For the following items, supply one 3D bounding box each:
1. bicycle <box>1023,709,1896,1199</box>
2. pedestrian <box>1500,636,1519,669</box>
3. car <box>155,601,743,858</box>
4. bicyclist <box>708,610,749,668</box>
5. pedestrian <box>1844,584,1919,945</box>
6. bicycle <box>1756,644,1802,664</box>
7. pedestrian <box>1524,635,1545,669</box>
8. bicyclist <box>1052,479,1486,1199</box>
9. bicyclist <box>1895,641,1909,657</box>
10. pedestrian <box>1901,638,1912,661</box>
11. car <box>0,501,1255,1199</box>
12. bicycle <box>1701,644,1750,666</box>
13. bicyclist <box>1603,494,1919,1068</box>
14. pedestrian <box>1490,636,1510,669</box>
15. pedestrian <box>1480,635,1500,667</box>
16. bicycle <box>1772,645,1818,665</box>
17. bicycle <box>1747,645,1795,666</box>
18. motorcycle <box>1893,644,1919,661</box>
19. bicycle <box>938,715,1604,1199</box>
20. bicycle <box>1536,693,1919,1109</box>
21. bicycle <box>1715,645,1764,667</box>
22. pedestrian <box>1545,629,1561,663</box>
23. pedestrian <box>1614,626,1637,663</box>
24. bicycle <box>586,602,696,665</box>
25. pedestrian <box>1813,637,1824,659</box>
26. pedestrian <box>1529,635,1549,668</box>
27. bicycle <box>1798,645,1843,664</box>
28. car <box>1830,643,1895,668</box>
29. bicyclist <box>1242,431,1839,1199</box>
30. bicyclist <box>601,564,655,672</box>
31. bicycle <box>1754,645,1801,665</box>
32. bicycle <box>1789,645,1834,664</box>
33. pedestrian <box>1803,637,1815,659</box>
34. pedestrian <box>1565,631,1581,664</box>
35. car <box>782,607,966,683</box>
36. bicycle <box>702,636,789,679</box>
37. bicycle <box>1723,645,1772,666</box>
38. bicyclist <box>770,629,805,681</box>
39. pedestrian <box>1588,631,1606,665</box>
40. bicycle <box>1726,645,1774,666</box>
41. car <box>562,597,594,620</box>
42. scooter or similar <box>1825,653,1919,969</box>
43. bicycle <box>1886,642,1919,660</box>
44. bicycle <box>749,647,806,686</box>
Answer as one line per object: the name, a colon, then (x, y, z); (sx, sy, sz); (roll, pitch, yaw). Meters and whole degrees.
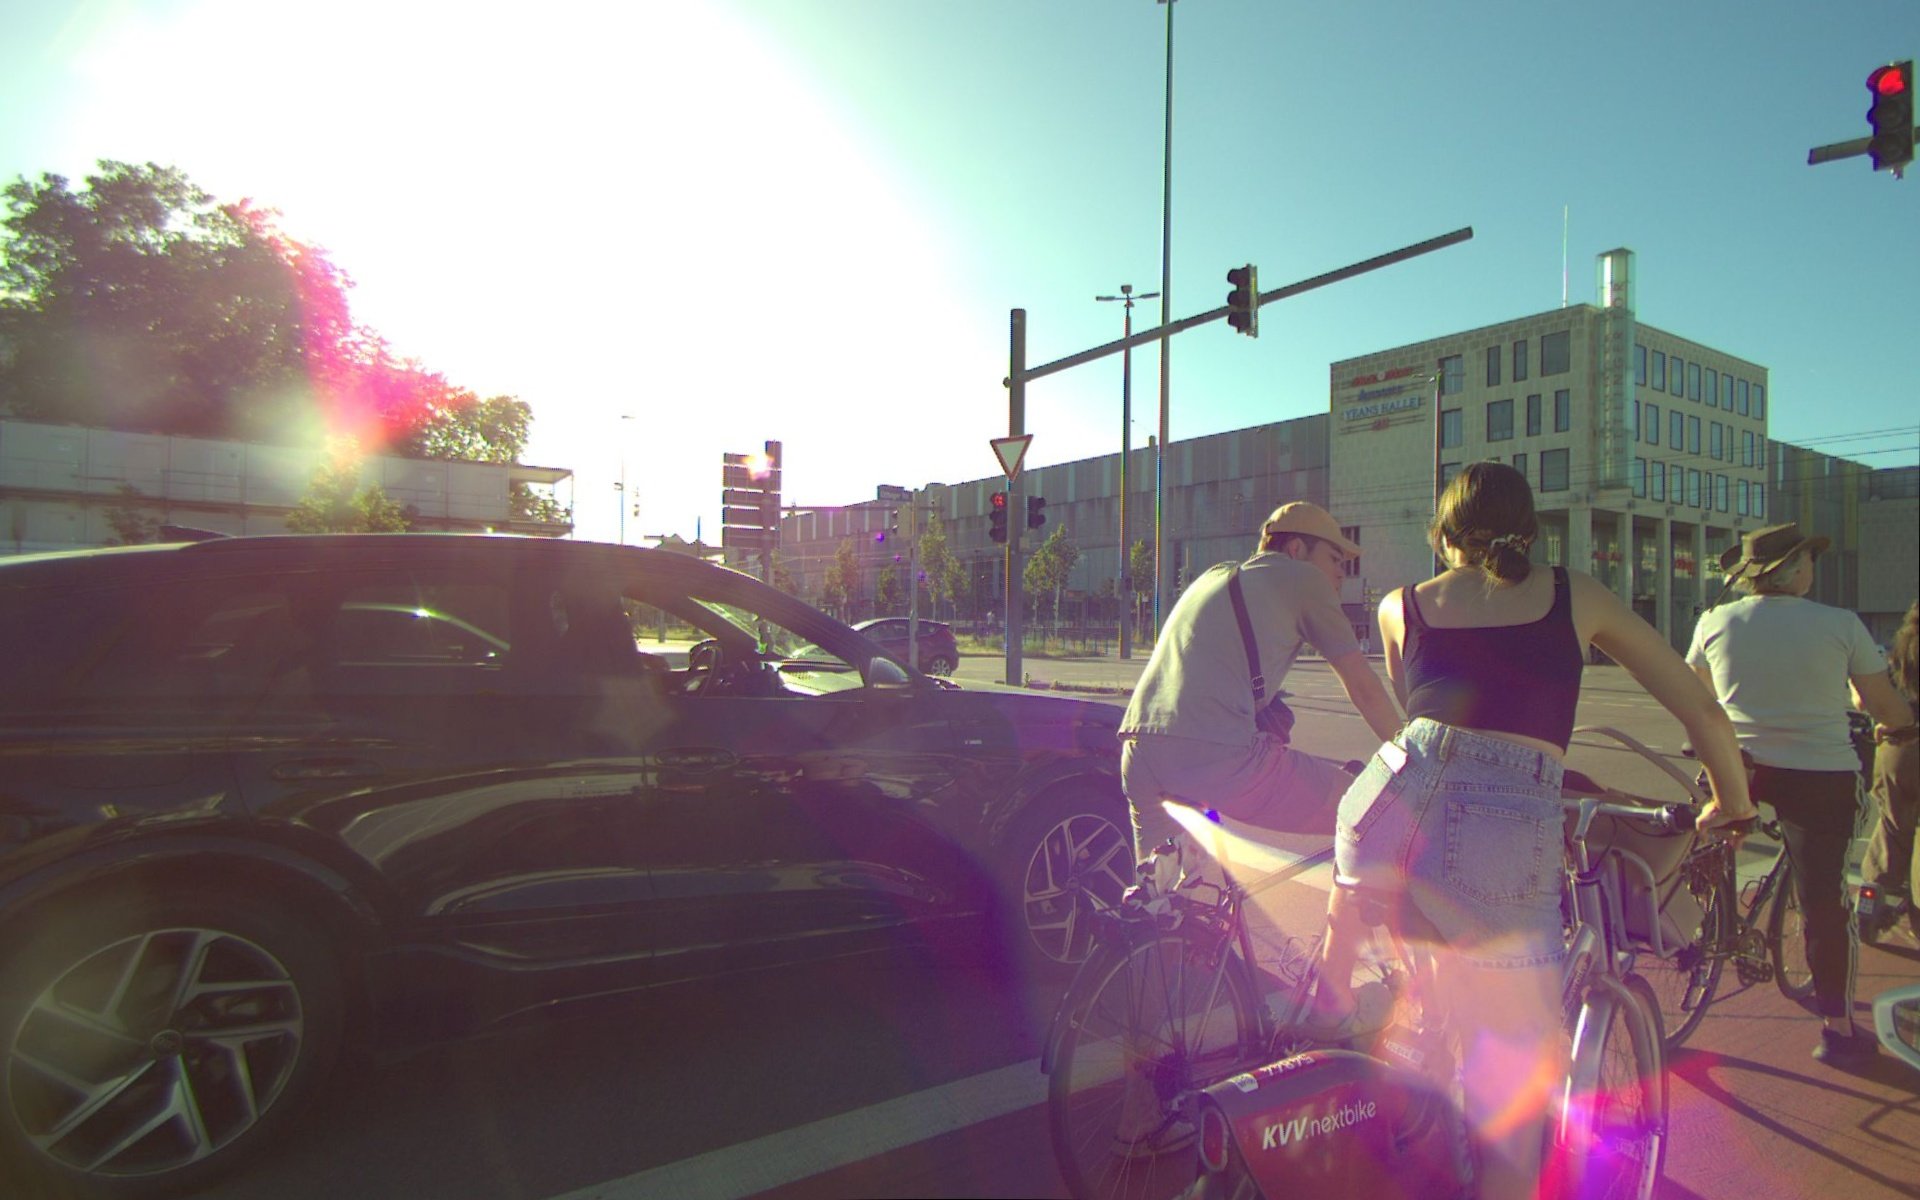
bicycle: (1.027, 0.888, 1.874); (1.811, 1.234, 0.612); (1, 0, -33)
pedestrian: (33.224, 3.176, 60.688); (0.780, 1.910, 0.709); (2, 0, -37)
car: (-3.584, 0.792, 7.494); (3.562, 1.505, 1.485); (1, 0, -30)
bicyclist: (-8.348, 1.402, 36.262); (1.078, 2.040, 0.961); (2, 0, 16)
pedestrian: (4.635, 0.764, 4.805); (0.568, 1.654, 0.543); (2, 0, -45)
bicycle: (54.281, 3.593, 66.566); (0.605, 1.238, 2.295); (1, -1, -31)
pedestrian: (33.397, 3.018, 58.375); (0.710, 1.910, 0.779); (2, 0, -36)
bicyclist: (0.805, 0.561, 2.672); (0.833, 1.627, 0.712); (1, 0, -32)
bicyclist: (68.664, 3.587, 73.225); (0.613, 1.099, 0.511); (1, 0, 22)
pedestrian: (71.097, 3.685, 75.455); (0.579, 1.702, 0.516); (1, 1, -43)
car: (-1.152, 0.634, 3.869); (4.630, 1.656, 1.760); (1, 0, -32)
bicycle: (45.763, 3.300, 60.082); (0.605, 1.238, 2.295); (1, -1, -31)
bicyclist: (2.871, 0.559, 3.552); (0.856, 1.743, 0.657); (2, 0, -30)
pedestrian: (32.162, 3.140, 59.867); (0.710, 1.910, 0.779); (2, 0, -36)
pedestrian: (32.397, 3.122, 61.415); (0.710, 1.910, 0.779); (2, 0, -36)
bicycle: (55.519, 3.632, 66.829); (0.605, 1.238, 2.295); (1, -1, -31)
bicycle: (51.277, 3.486, 63.550); (0.605, 1.238, 2.295); (1, -1, -31)
motorcycle: (70.739, 3.921, 74.855); (0.508, 1.223, 1.786); (1, 0, -44)
bicycle: (0.942, 0.955, 2.769); (1.949, 1.124, 0.643); (1, 0, -33)
bicycle: (2.881, 0.964, 3.678); (1.810, 1.171, 0.482); (2, 0, -31)
bicycle: (46.964, 3.339, 60.526); (0.605, 1.238, 2.295); (1, -1, -31)
pedestrian: (34.256, 2.657, 58.012); (0.705, 1.910, 0.785); (2, 0, 33)
pedestrian: (37.697, 2.534, 56.924); (0.767, 2.040, 0.876); (2, 0, -41)
bicycle: (-9.569, 0.979, 30.225); (3.047, 1.835, 0.835); (0, 1, -32)
pedestrian: (66.283, 3.703, 77.529); (0.602, 1.702, 0.549); (1, 0, -40)
pedestrian: (34.407, 3.055, 59.688); (0.710, 1.910, 0.779); (2, 0, -36)
bicycle: (59.824, 3.778, 69.852); (0.605, 1.238, 2.295); (1, -1, -31)
car: (49.784, 3.074, 55.408); (3.956, 1.359, 1.621); (2, -4, -32)
bicyclist: (1.093, 0.567, 1.915); (0.866, 1.600, 0.638); (1, 0, -33)
bicyclist: (-9.906, 0.535, 29.992); (1.292, 3.144, 0.835); (2, 0, -32)
bicycle: (52.902, 3.543, 65.017); (0.605, 1.238, 2.295); (1, -1, -31)
bicycle: (58.852, 3.747, 69.427); (0.605, 1.238, 2.295); (1, -1, -31)
pedestrian: (65.879, 3.698, 77.924); (0.610, 1.702, 0.565); (1, 0, -39)
pedestrian: (35.630, 2.741, 58.423); (0.784, 1.868, 0.862); (0, -1, 32)
car: (-1.950, 1.017, 22.908); (3.848, 1.606, 1.648); (2, -2, -27)
bicycle: (-7.694, 2.056, 36.073); (2.905, 1.388, 0.970); (2, 0, 16)
bicycle: (48.047, 3.376, 61.337); (0.605, 1.238, 2.295); (1, -1, -31)
bicyclist: (-7.077, 2.234, 41.167); (0.985, 2.040, 1.088); (2, 0, -40)
pedestrian: (35.873, 2.705, 56.582); (0.784, 1.868, 0.863); (0, -1, 28)
bicycle: (48.697, 3.399, 61.958); (0.605, 1.238, 2.295); (1, -1, -31)
car: (-32.937, 0.737, 86.511); (1.785, 1.908, 3.964); (2, 0, -33)
scooter or similar: (4.494, 0.928, 4.713); (1.186, 1.311, 0.541); (2, 0, -45)
bicycle: (68.740, 3.745, 73.199); (1.775, 1.223, 0.511); (1, 0, 22)
bicycle: (-7.631, 2.749, 41.829); (0.962, 1.388, 2.930); (2, 0, -40)
